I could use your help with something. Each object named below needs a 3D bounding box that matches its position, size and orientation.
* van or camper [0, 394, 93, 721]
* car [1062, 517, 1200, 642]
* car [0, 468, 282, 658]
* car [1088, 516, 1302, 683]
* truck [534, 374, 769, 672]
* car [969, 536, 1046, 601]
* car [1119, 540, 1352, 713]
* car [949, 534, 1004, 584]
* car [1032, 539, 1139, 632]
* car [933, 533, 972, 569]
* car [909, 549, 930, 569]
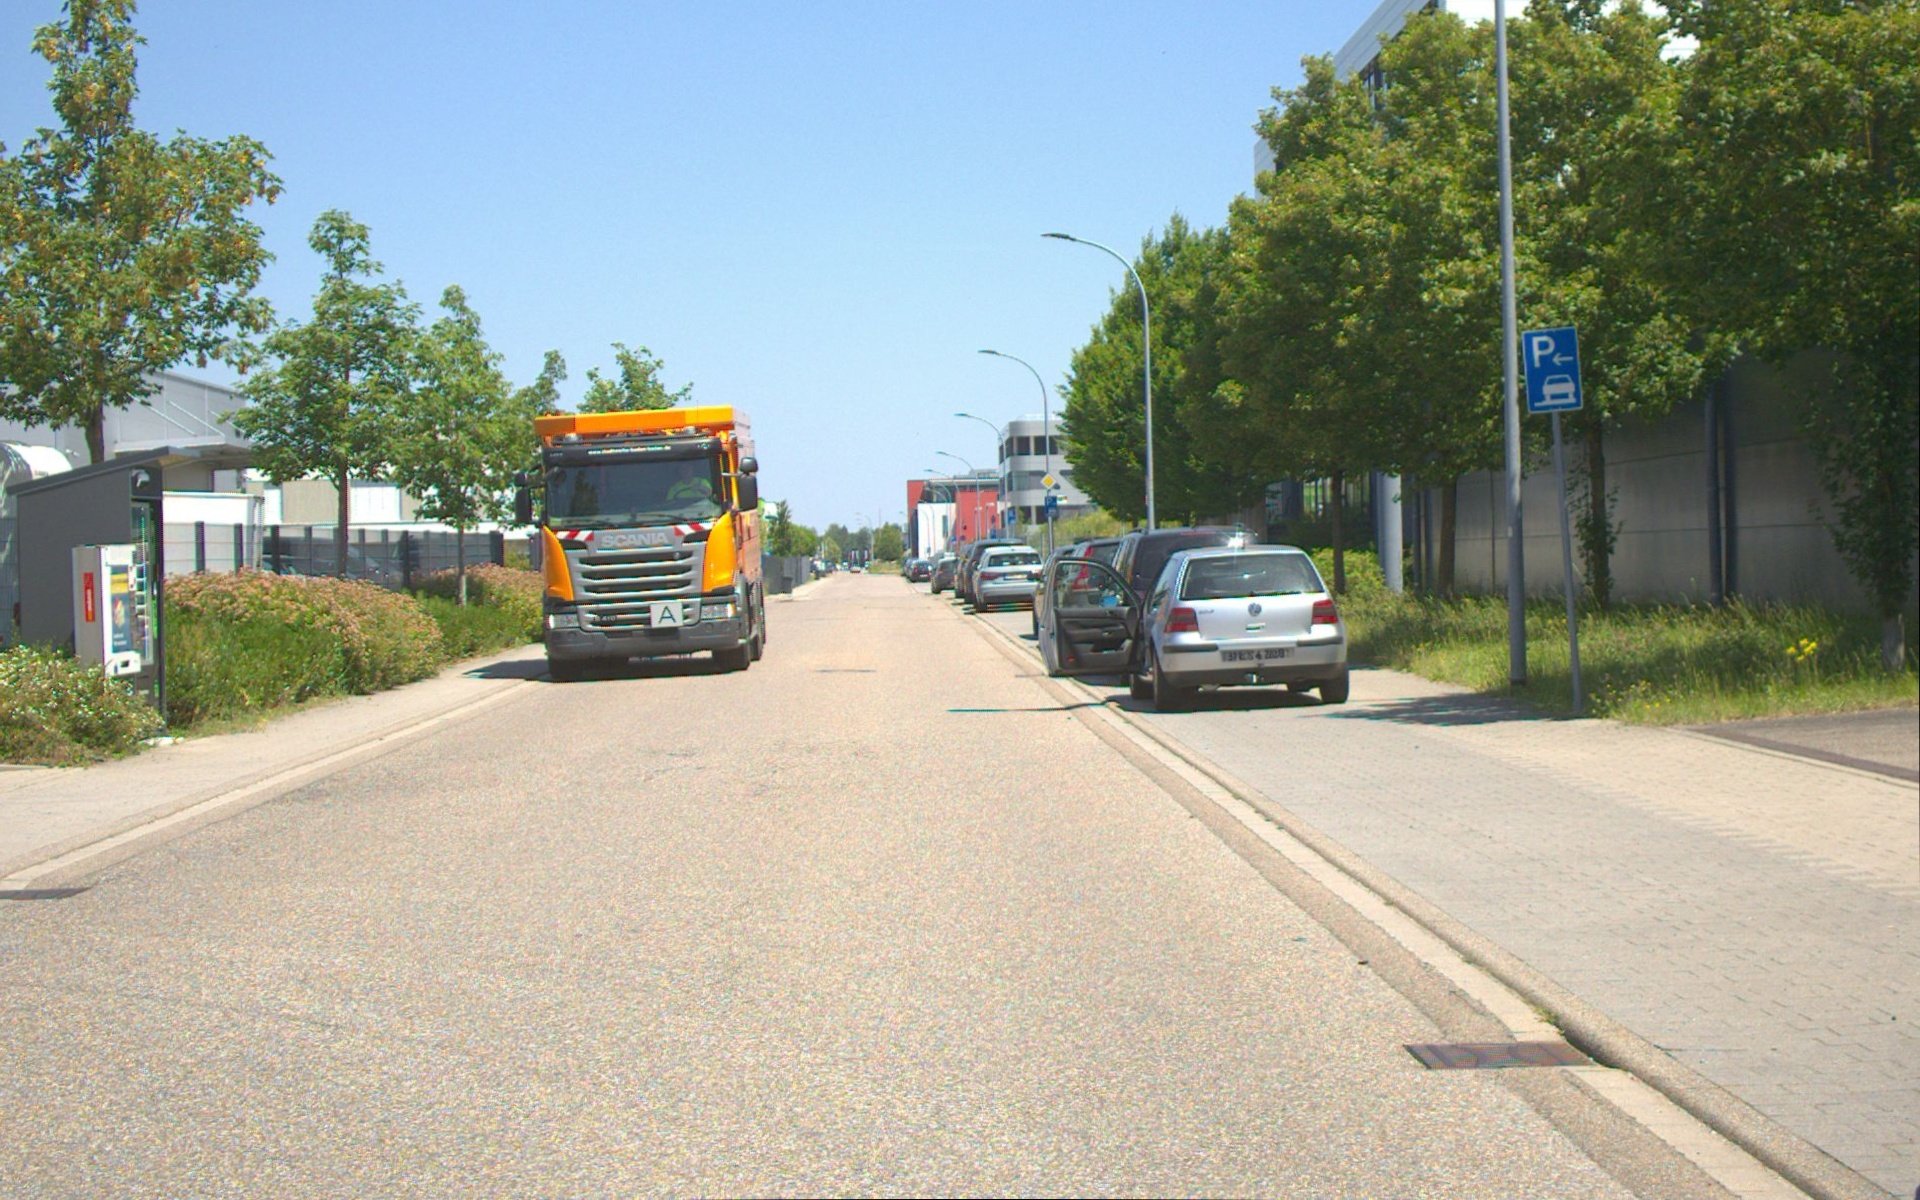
[{"bbox_3d":[-12.442,-0.340,33.198,7.384,3.027,2.791,-1,1,-2],"label":"van or camper"},{"bbox_3d":[2.418,-0.330,49.416,1.721,1.688,3.984,-1,1,0],"label":"car"},{"bbox_3d":[-12.304,-0.535,49.510,4.714,2.577,2.000,-2,1,-5],"label":"car"},{"bbox_3d":[2.505,-0.051,37.561,1.678,1.680,4.001,-1,1,-5],"label":"car"},{"bbox_3d":[-3.959,-1.053,45.735,2.448,3.501,8.274,-2,2,-1],"label":"truck"},{"bbox_3d":[1.070,-0.739,78.418,1.585,1.405,3.500,-1,1,-1],"label":"car"},{"bbox_3d":[2.466,0.197,31.560,1.718,1.445,3.646,-2,1,-1],"label":"car"},{"bbox_3d":[0.485,-1.216,101.731,1.495,1.405,3.500,-1,1,-1],"label":"car"},{"bbox_3d":[2.008,-0.264,55.691,1.495,1.405,3.500,-1,1,-1],"label":"car"},{"bbox_3d":[-0.321,-2.044,142.866,1.495,1.405,3.500,-1,1,-1],"label":"car"},{"bbox_3d":[-2.993,-3.027,254.000,1.495,1.405,3.500,-1,1,-1],"label":"car"}]
